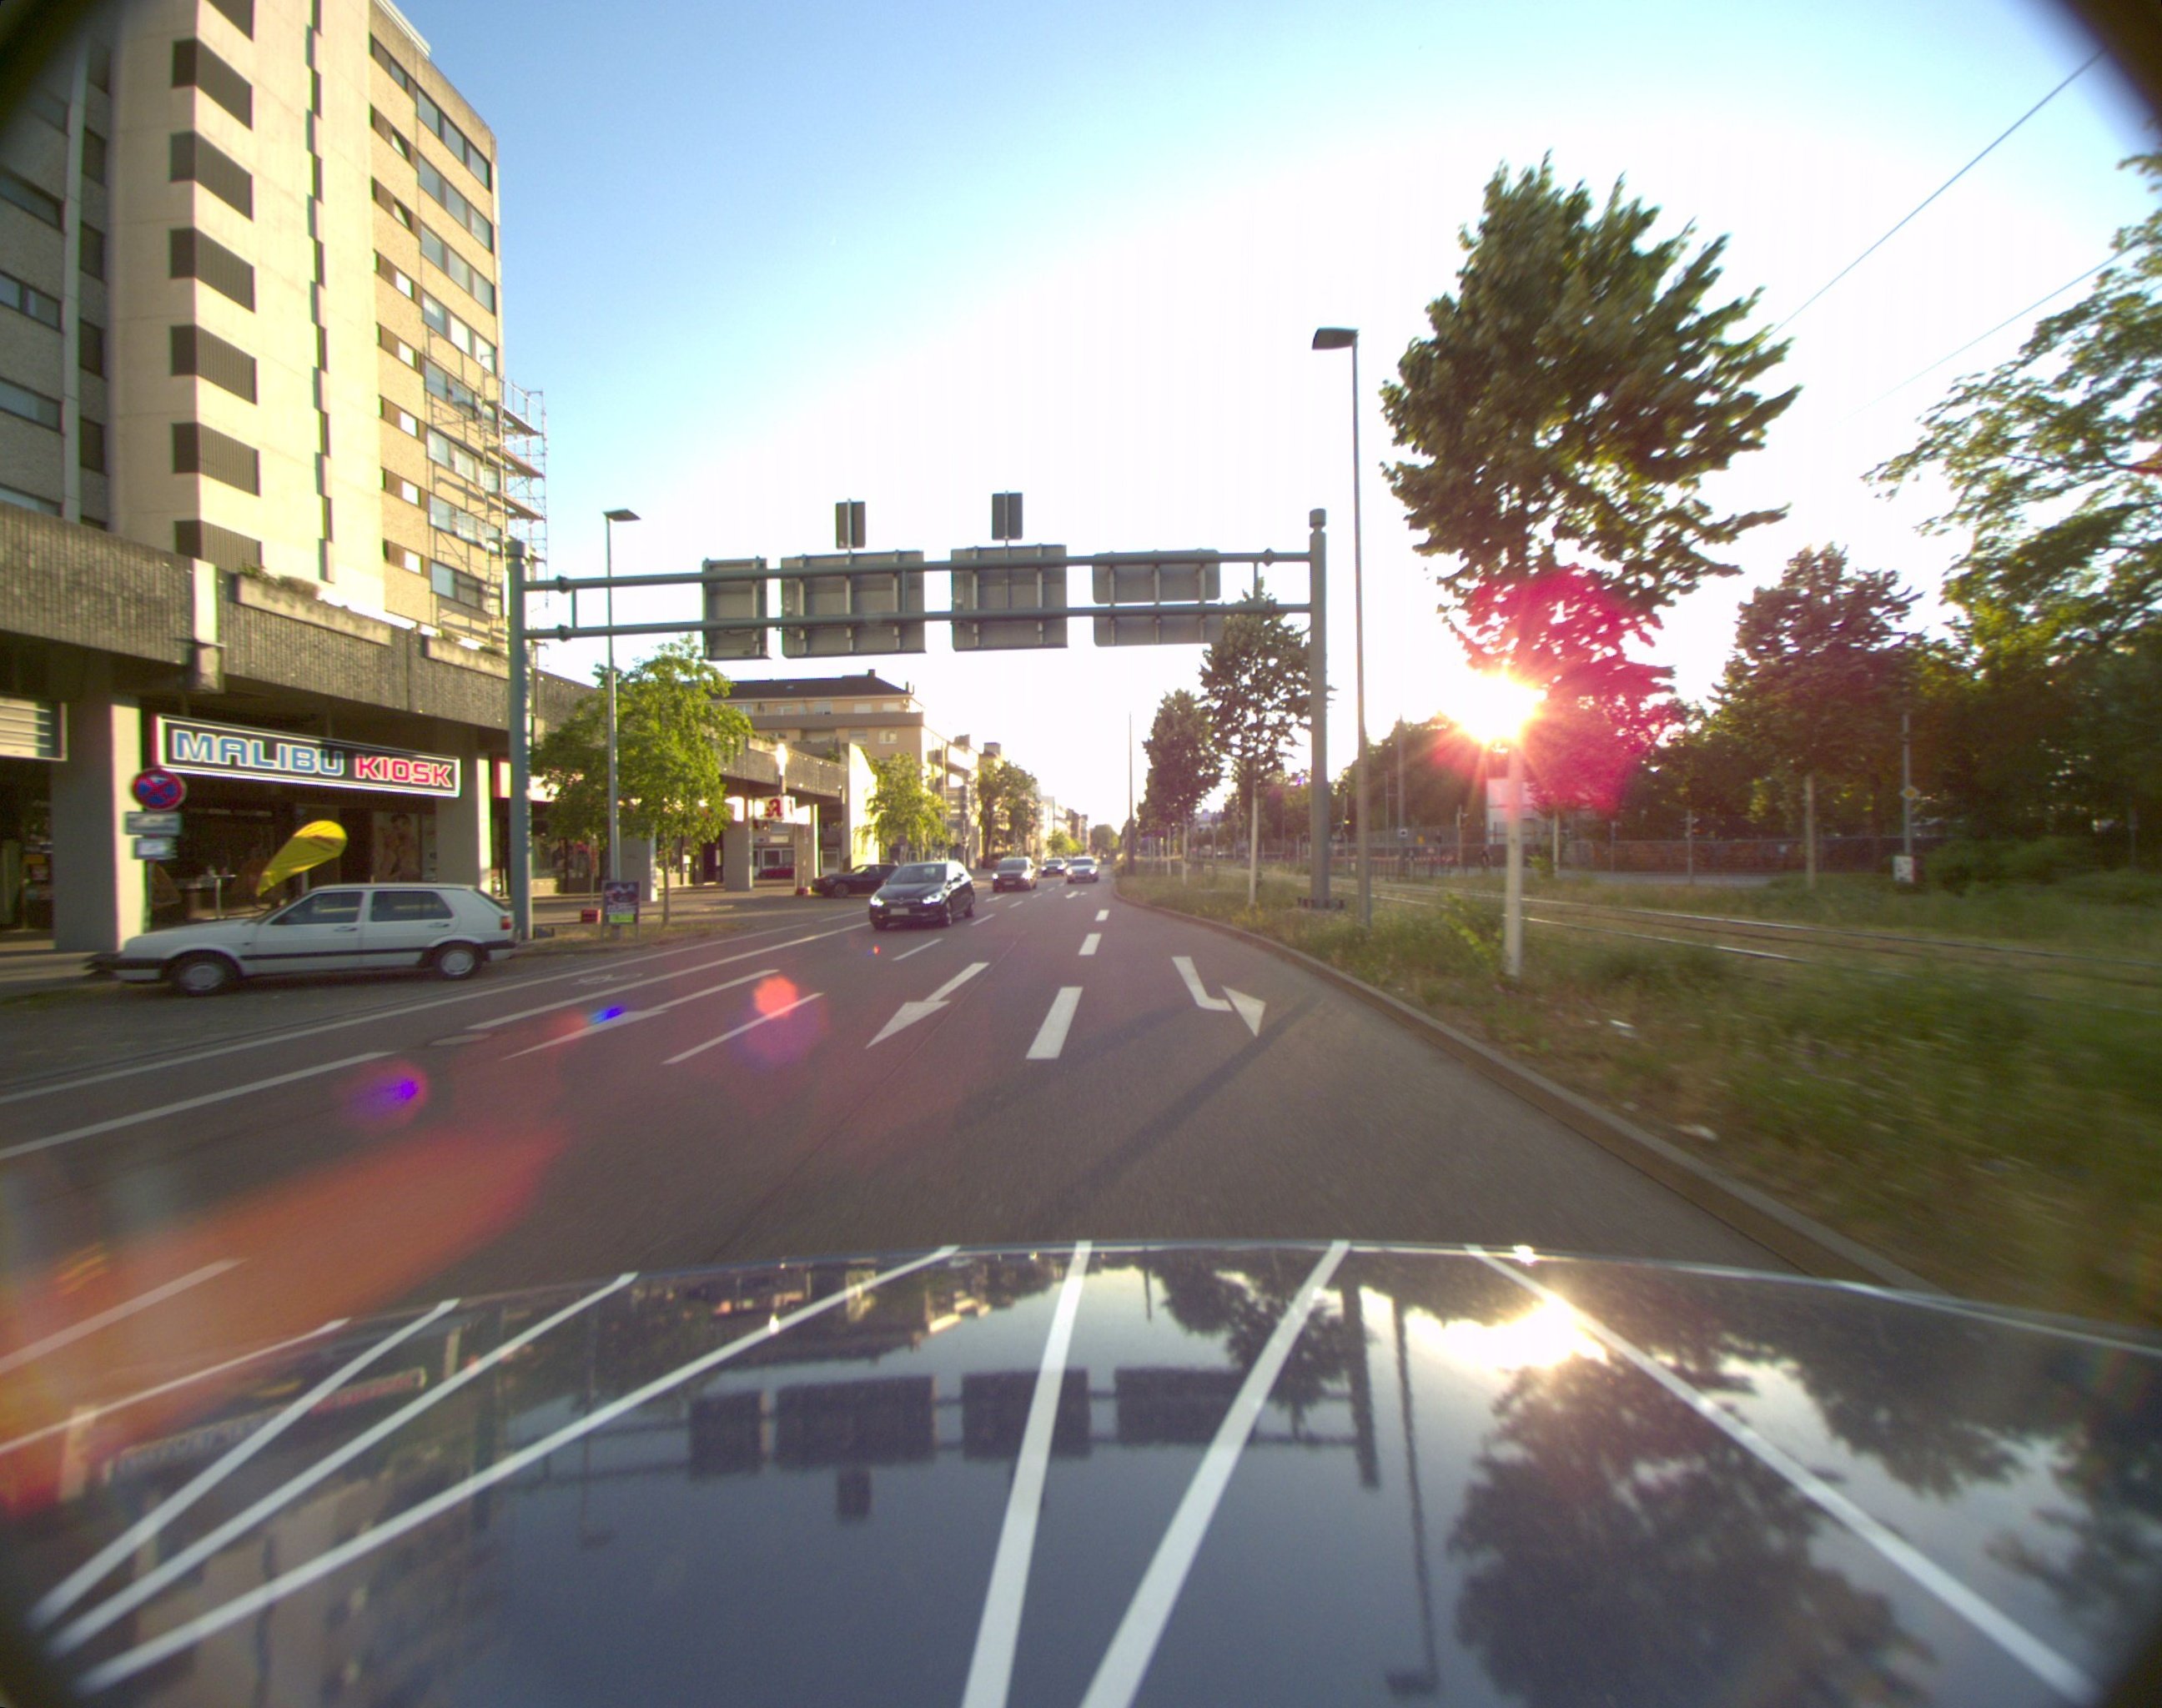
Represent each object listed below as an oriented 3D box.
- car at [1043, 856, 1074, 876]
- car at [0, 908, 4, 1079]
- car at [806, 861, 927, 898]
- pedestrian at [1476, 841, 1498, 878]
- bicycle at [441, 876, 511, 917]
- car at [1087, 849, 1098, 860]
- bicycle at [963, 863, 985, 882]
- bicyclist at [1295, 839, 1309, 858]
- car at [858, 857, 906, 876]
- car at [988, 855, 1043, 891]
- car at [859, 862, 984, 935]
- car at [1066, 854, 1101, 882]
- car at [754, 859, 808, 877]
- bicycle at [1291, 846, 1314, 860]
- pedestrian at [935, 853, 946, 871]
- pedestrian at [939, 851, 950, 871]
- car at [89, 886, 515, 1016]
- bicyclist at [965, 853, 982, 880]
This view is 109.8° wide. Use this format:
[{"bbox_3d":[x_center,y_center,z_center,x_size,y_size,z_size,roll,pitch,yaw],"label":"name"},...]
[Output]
[{"bbox_3d":[-1.762,0.925,60.544,1.914,1.387,4.278,-3,0,5],"label":"car"},{"bbox_3d":[-10.855,1.216,4.559,4.678,1.500,1.934,1,1,-36],"label":"car"},{"bbox_3d":[-9.132,1.060,32.489,4.616,1.445,1.809,1,0,-37],"label":"car"},{"bbox_3d":[18.259,0.277,34.155,0.670,1.597,0.679,-3,-4,18],"label":"pedestrian"},{"bbox_3d":[-16.469,1.155,20.697,1.576,1.042,0.433,1,1,2],"label":"bicycle"},{"bbox_3d":[2.108,0.142,140.069,1.727,1.909,4.294,-3,0,0],"label":"car"},{"bbox_3d":[-6.866,1.179,48.615,0.821,1.166,2.144,0,0,-24],"label":"bicycle"},{"bbox_3d":[20.391,-0.508,70.095,0.942,1.611,0.718,-3,0,30],"label":"bicyclist"},{"bbox_3d":[-17.755,1.081,67.951,3.812,1.552,1.615,-1,4,4],"label":"car"},{"bbox_3d":[-3.132,0.881,37.368,1.826,1.589,4.369,-3,0,6],"label":"car"},{"bbox_3d":[-3.859,1.016,19.310,1.825,1.510,4.792,-2,0,3],"label":"car"},{"bbox_3d":[0.182,0.794,45.114,1.832,1.455,4.304,-3,0,3],"label":"car"},{"bbox_3d":[-26.992,1.227,68.443,4.225,1.432,1.655,-1,4,-1],"label":"car"},{"bbox_3d":[20.413,-0.101,70.099,1.893,1.126,0.718,-3,0,30],"label":"bicycle"},{"bbox_3d":[-13.090,0.739,70.820,0.821,1.606,0.766,-1,2,4],"label":"pedestrian"},{"bbox_3d":[-12.630,0.616,70.102,0.839,1.849,0.544,-1,2,3],"label":"pedestrian"},{"bbox_3d":[-10.661,1.237,10.902,3.999,1.408,1.746,1,1,-35],"label":"car"},{"bbox_3d":[-6.872,0.793,48.625,0.821,1.682,0.959,0,1,-25],"label":"bicyclist"}]
